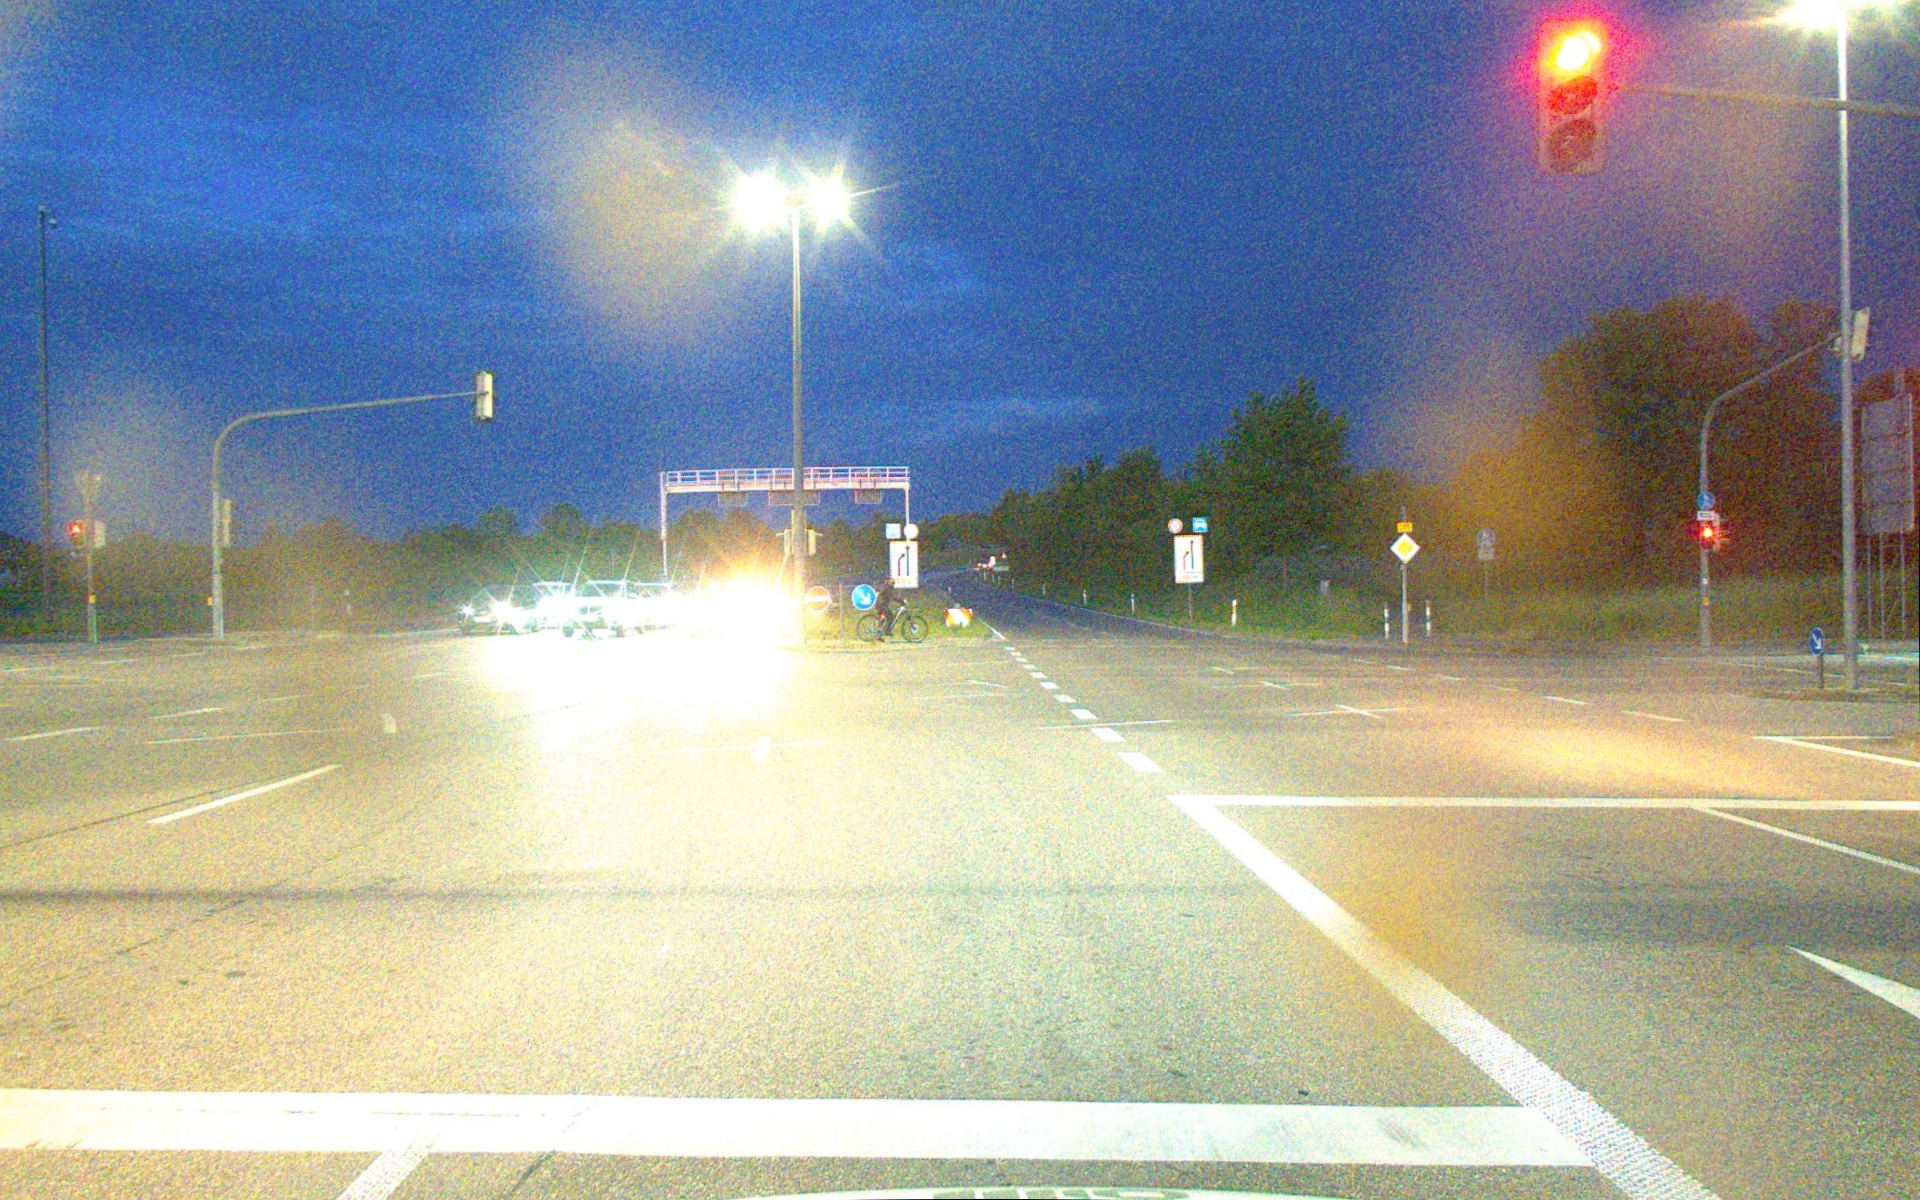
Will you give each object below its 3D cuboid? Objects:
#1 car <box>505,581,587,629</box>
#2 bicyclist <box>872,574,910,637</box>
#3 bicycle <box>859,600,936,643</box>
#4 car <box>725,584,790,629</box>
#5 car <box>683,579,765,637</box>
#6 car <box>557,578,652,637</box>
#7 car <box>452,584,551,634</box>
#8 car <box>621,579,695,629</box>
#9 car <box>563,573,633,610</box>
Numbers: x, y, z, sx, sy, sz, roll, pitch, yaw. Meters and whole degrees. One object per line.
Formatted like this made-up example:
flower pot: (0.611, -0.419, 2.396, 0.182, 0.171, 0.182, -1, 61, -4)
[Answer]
car: (-14.353, 0.145, 57.541, 1.794, 1.551, 4.000, -1, 1, 0)
bicyclist: (-1.863, 0.144, 44.515, 0.977, 1.680, 0.603, 0, 0, -6)
bicycle: (-1.692, 0.575, 44.519, 2.021, 1.120, 0.694, 0, 0, -6)
car: (-7.144, 0.215, 58.618, 1.736, 1.507, 3.911, 1, 1, 1)
car: (-7.175, 0.200, 50.677, 1.814, 1.661, 4.586, 0, 1, 0)
car: (-10.765, 0.189, 50.422, 1.869, 1.711, 4.421, 1, 1, 1)
car: (-14.194, 0.251, 51.466, 1.743, 1.471, 4.292, 1, 1, 2)
car: (-10.516, 0.098, 57.822, 1.709, 1.655, 4.363, 0, 1, 1)
car: (-14.290, -0.370, 65.474, 1.794, 1.414, 4.397, -1, 1, 0)
